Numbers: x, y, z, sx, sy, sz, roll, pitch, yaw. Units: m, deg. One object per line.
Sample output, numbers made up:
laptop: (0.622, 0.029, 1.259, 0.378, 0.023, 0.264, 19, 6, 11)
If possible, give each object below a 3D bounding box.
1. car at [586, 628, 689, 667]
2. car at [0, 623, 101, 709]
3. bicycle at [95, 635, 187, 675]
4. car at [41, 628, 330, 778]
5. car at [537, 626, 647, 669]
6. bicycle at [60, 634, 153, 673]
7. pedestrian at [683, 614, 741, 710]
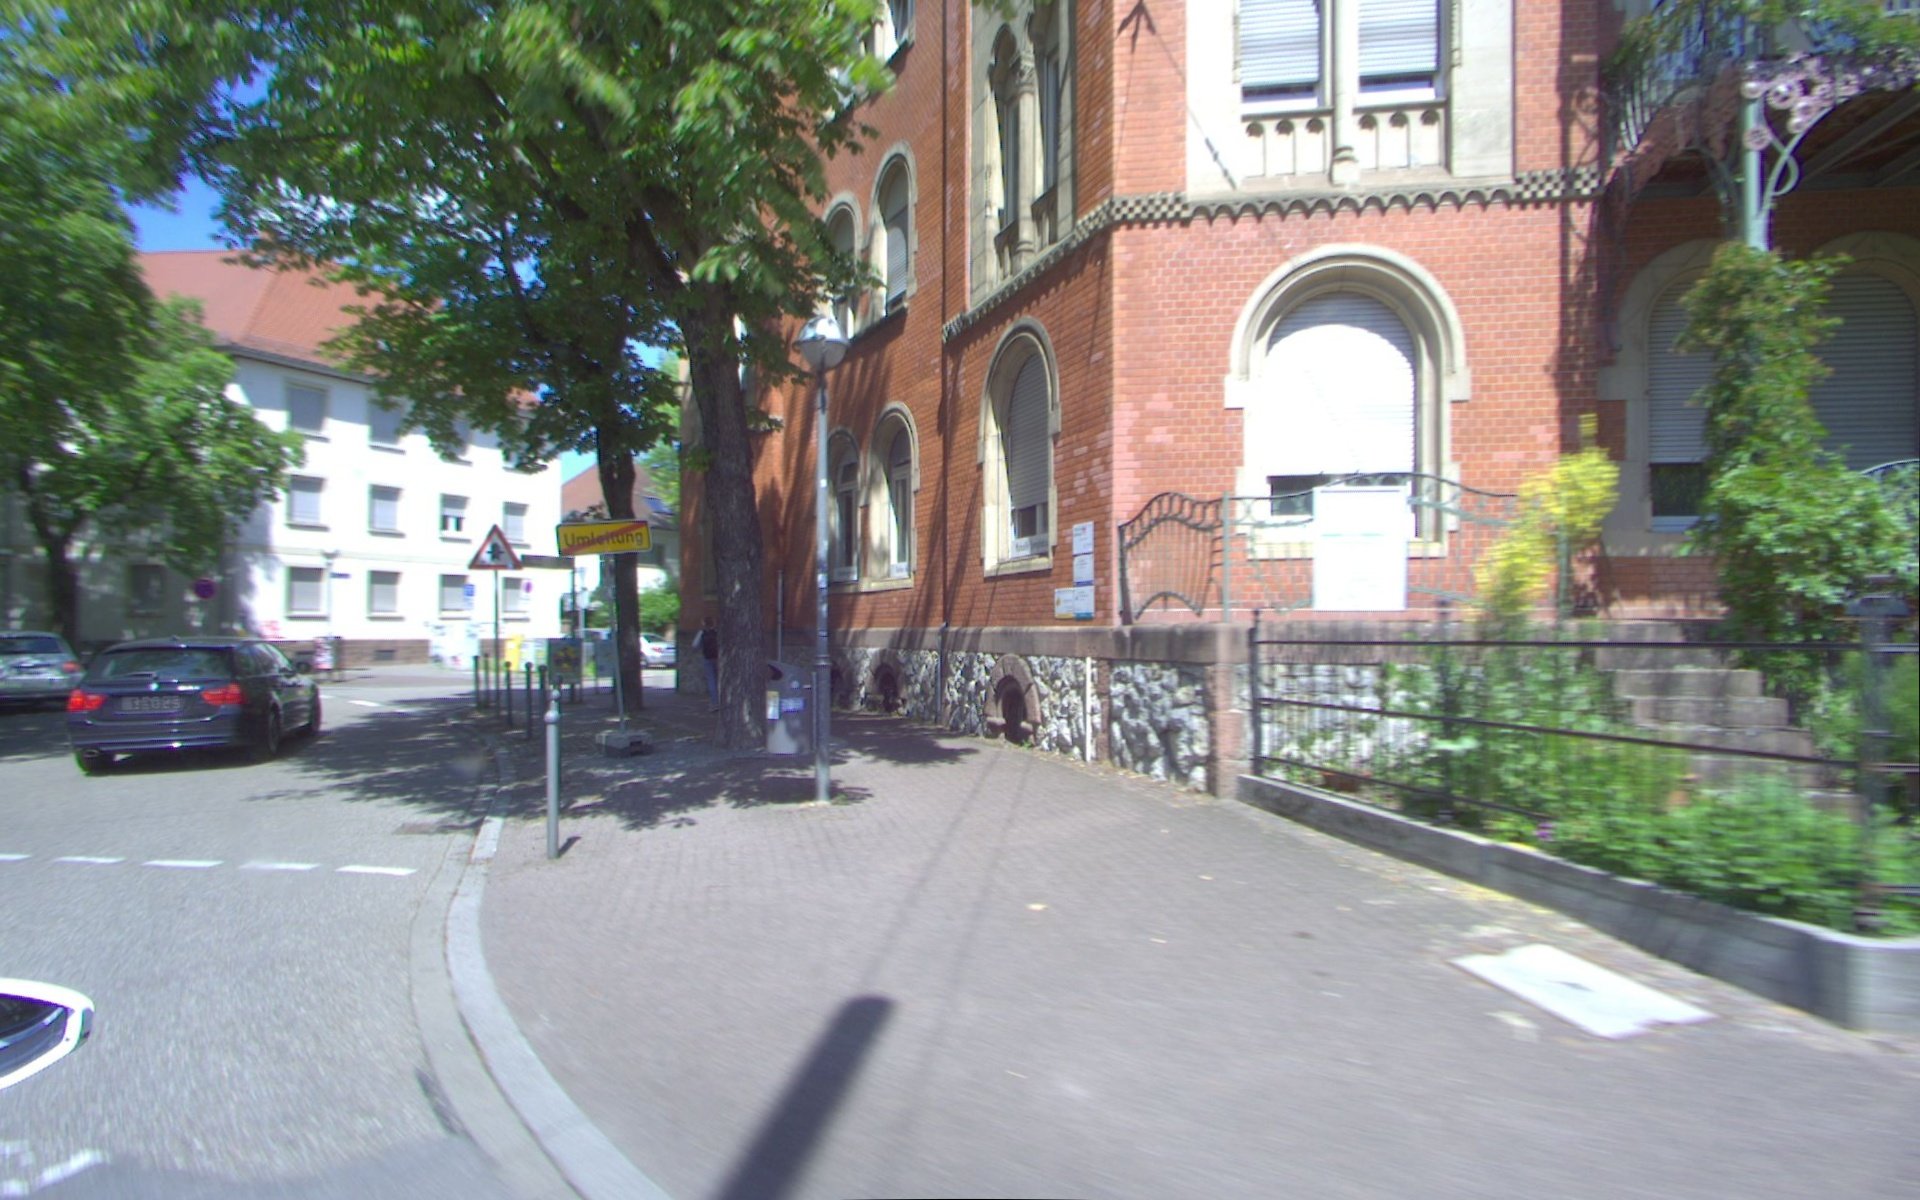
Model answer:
car: (-12.212, 1.762, 37.899, 3.674, 1.394, 1.675, -1, -2, 28)
car: (-18.084, 1.196, 19.117, 3.634, 1.504, 1.681, -1, -2, 34)
bicycle: (-23.249, 1.538, 28.477, 0.641, 1.072, 2.217, 0, -2, 6)
car: (-9.061, 1.074, 12.168, 1.700, 1.427, 4.550, 1, -1, -24)
car: (-13.154, 1.670, 35.749, 3.674, 1.461, 1.675, -1, -2, 28)
bicycle: (-24.869, 1.545, 29.234, 0.547, 1.072, 2.216, 0, -2, 10)
pedestrian: (-4.198, 1.033, 16.944, 0.740, 1.576, 0.796, 1, -1, -33)
